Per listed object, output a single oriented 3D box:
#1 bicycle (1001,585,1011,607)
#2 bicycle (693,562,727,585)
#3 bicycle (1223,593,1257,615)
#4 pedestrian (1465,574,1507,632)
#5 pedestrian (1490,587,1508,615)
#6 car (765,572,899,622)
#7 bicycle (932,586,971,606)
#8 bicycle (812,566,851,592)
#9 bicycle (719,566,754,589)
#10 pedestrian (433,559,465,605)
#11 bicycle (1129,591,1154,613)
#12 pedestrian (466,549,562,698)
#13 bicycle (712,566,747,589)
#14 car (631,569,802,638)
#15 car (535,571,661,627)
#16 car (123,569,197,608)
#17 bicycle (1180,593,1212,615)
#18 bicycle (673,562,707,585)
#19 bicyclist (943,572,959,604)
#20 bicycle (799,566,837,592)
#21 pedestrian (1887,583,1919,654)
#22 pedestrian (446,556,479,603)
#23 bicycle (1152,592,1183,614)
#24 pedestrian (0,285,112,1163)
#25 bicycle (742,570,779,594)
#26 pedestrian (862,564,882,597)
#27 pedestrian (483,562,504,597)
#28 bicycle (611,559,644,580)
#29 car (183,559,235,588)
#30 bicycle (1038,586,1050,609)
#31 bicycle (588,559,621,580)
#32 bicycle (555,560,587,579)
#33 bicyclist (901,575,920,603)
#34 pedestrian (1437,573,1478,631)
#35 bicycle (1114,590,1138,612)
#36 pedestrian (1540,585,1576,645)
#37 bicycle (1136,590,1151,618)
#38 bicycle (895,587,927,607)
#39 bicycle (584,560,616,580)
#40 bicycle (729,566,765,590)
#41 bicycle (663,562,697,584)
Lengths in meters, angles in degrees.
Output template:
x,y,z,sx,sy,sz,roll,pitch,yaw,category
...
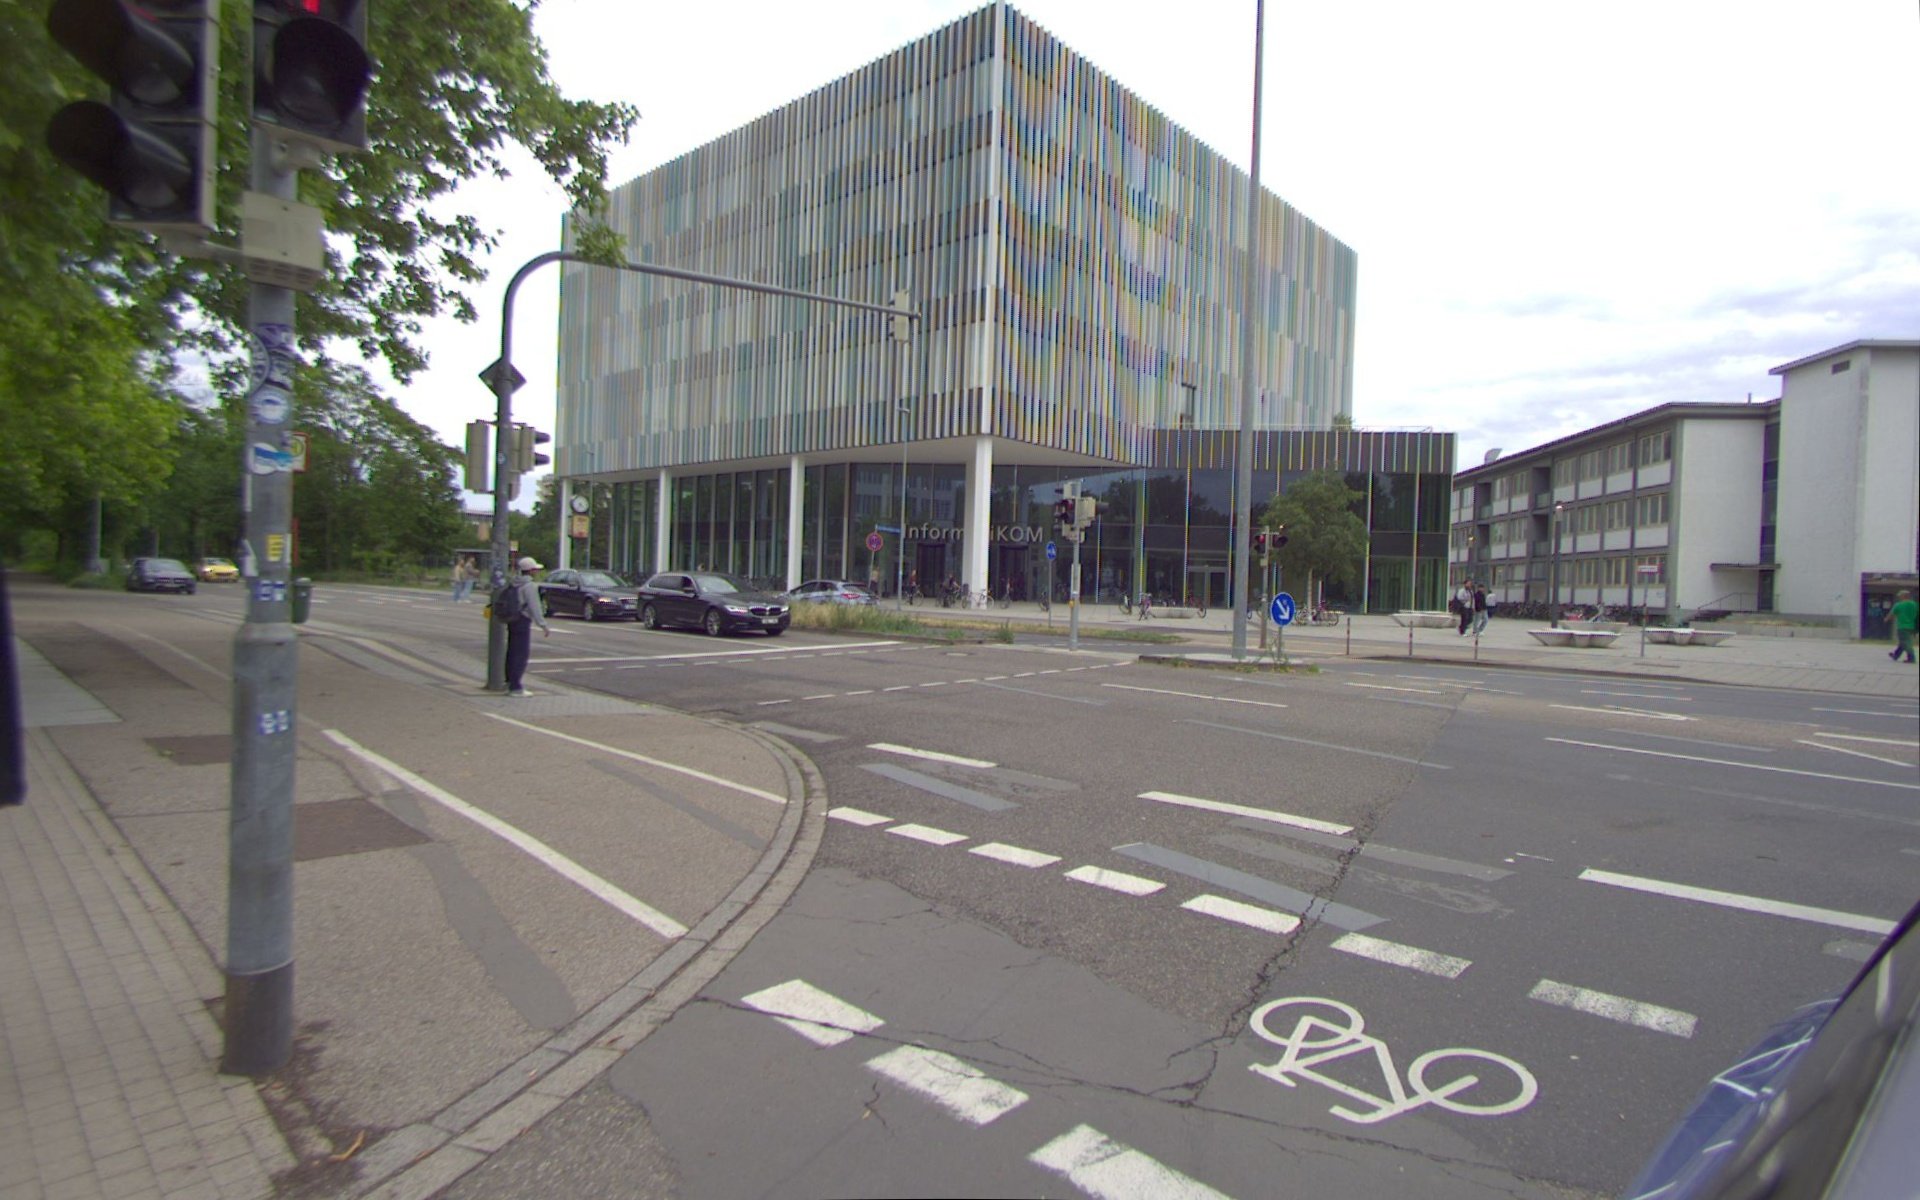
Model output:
x,y,z,sx,sy,sz,roll,pitch,yaw,category
2.269,-0.210,49.981,0.475,1.058,1.915,1,1,3,bicycle
-15.620,-1.646,63.242,0.626,1.275,2.073,0,-3,40,bicycle
12.930,0.193,46.782,0.474,0.947,2.015,1,1,-16,bicycle
16.875,0.089,32.483,0.830,1.811,0.894,2,0,0,pedestrian
35.889,0.077,67.370,0.763,1.811,0.760,2,1,9,pedestrian
-4.316,-0.106,33.893,4.202,1.487,1.973,2,-2,36,car
-0.388,-0.180,48.766,1.878,0.937,0.484,1,1,-30,bicycle
-7.000,-1.120,55.234,2.068,1.275,0.627,4,-3,-43,bicycle
-13.545,-1.341,61.408,0.626,1.275,2.073,0,-3,40,bicycle
-20.322,-0.725,40.271,0.883,1.811,0.711,1,0,18,pedestrian
8.389,0.081,46.779,0.537,0.947,2.013,1,1,-8,bicycle
-5.219,0.276,11.830,0.778,1.647,0.758,5,-2,-34,pedestrian
-14.067,-1.350,61.818,0.626,1.275,2.073,0,-3,40,bicycle
-5.922,0.008,24.351,4.276,1.508,1.970,2,2,42,car
-10.510,-0.074,29.263,1.968,1.471,3.989,-1,2,-45,car
-33.314,-0.492,42.100,1.967,1.531,3.989,1,1,-45,car
10.814,0.177,46.390,0.474,0.947,2.015,1,1,-16,bicycle
-17.106,-1.677,64.215,0.626,1.275,2.073,0,-3,40,bicycle
-0.436,-0.574,48.717,0.593,1.487,0.484,1,0,-30,bicyclist
-7.877,-1.163,56.071,2.068,1.275,0.627,4,-3,-43,bicycle
23.858,0.462,25.130,0.931,1.736,0.908,2,-1,-20,pedestrian
-19.519,-0.792,39.742,0.883,1.811,0.711,1,0,18,pedestrian
9.495,0.120,46.328,0.474,0.947,2.015,1,1,-16,bicycle
-2.580,0.283,2.329,0.742,1.976,0.795,1,0,-23,pedestrian
-11.809,-1.052,59.953,2.068,1.275,0.627,4,-3,-43,bicycle
-4.975,-1.081,57.080,0.760,1.810,0.789,3,1,44,pedestrian
-24.608,-1.072,53.392,0.795,1.832,0.587,1,1,-44,pedestrian
-22.848,-2.104,69.518,0.626,1.275,2.073,0,-3,40,bicycle
-46.166,-1.625,62.157,1.967,1.638,4.183,1,1,-45,car
3.911,-0.129,47.365,0.475,1.058,1.915,1,1,3,bicycle
-25.002,-2.140,71.211,0.626,1.275,2.073,0,-3,40,bicycle
-28.539,-2.228,74.325,0.626,1.275,2.073,0,-3,40,bicycle
-2.451,-0.542,49.938,0.608,1.400,0.718,1,1,-38,bicyclist
15.953,0.056,32.454,0.830,1.811,0.894,1,0,0,pedestrian
7.664,0.049,46.750,0.474,0.947,2.013,1,1,-8,bicycle
17.029,0.429,28.820,0.606,1.687,0.624,1,-1,-1,pedestrian
7.143,0.138,39.328,0.477,1.058,1.777,1,1,13,bicycle
-2.428,-0.169,49.900,0.608,0.937,1.915,1,1,-38,bicycle
-25.557,-2.140,71.935,0.626,1.275,2.073,0,-3,40,bicycle
-12.788,-1.328,60.825,2.068,1.275,0.627,4,-3,-43,bicycle
-17.887,-1.695,64.674,0.626,1.275,2.073,0,-3,40,bicycle
